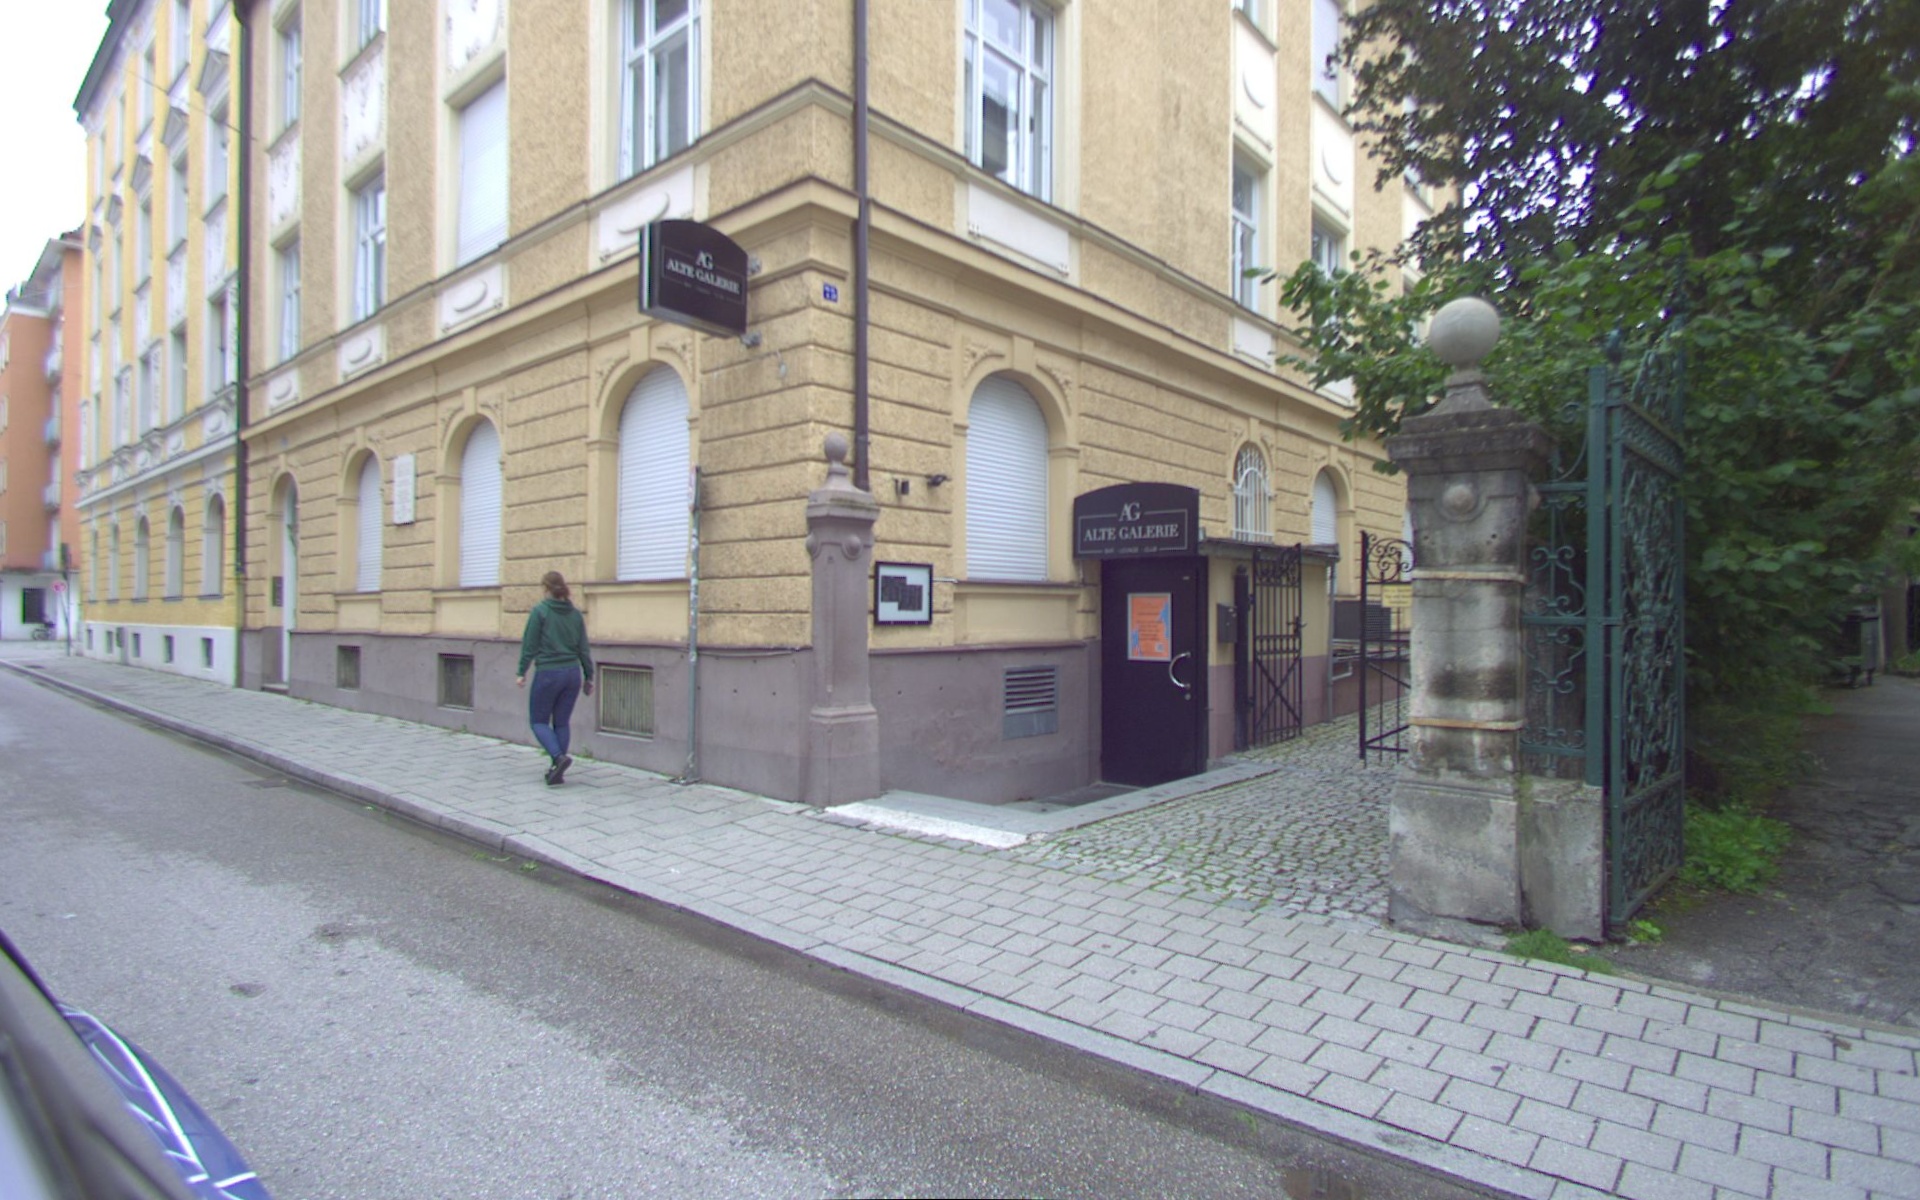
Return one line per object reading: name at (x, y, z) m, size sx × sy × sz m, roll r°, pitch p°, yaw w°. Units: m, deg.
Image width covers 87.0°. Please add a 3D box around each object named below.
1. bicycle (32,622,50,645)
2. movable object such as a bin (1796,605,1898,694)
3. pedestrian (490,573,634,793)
bicycle at (-39.014, 1.406, 42.968) m, size 1.539 × 0.944 × 0.386 m, roll -1°, pitch -2°, yaw 42°
movable object such as a bin at (14.731, 0.799, 16.806) m, size 1.209 × 1.414 × 1.109 m, roll 1°, pitch -2°, yaw -41°
pedestrian at (-3.282, 0.636, 8.341) m, size 0.929 × 1.678 × 0.705 m, roll -1°, pitch 1°, yaw 41°
